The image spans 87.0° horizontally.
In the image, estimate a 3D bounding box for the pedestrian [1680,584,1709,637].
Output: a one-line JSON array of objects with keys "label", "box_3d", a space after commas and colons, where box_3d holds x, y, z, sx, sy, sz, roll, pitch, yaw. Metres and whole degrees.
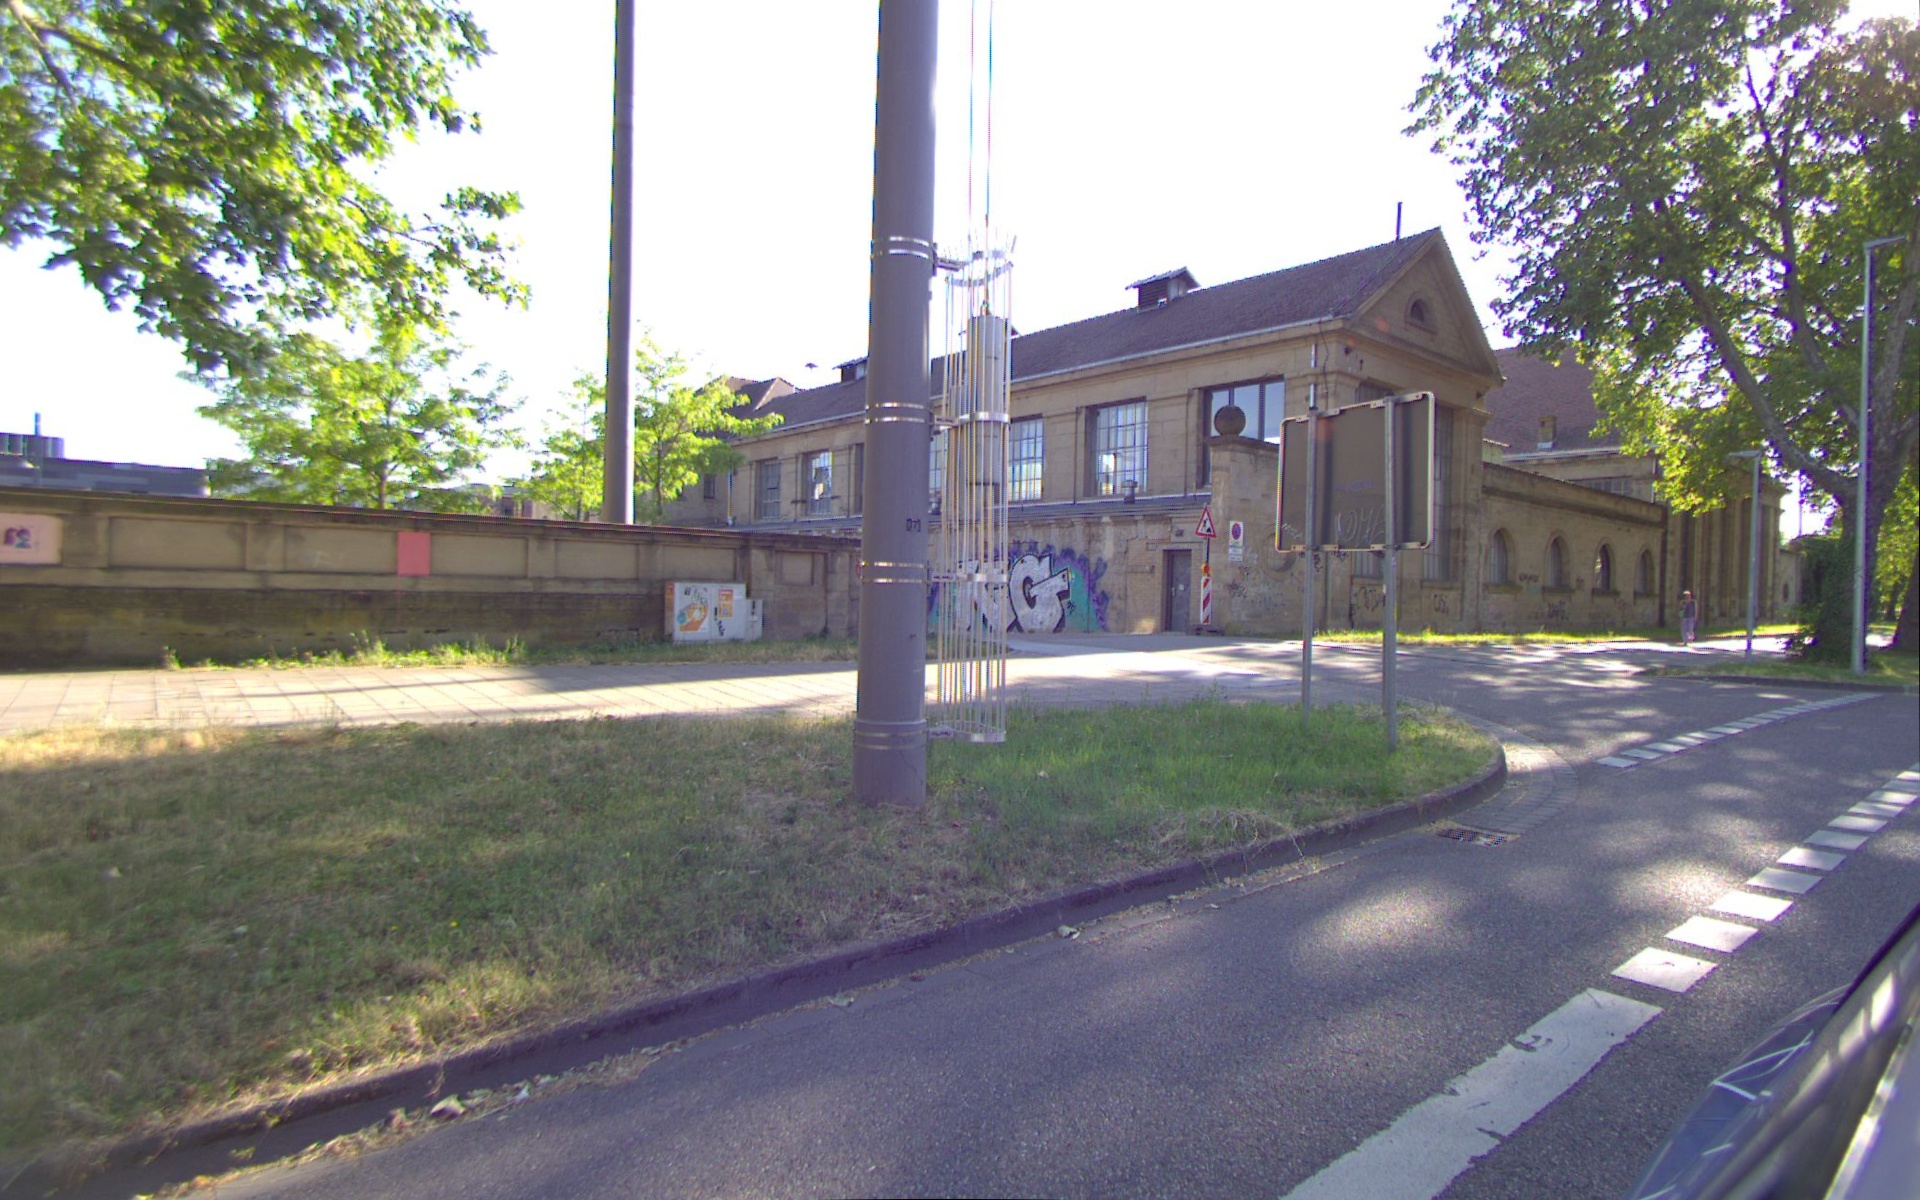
[{"label": "pedestrian", "box_3d": [24.065, 0.326, 33.165, 0.668, 1.683, 0.863, 3, 2, 34]}]
